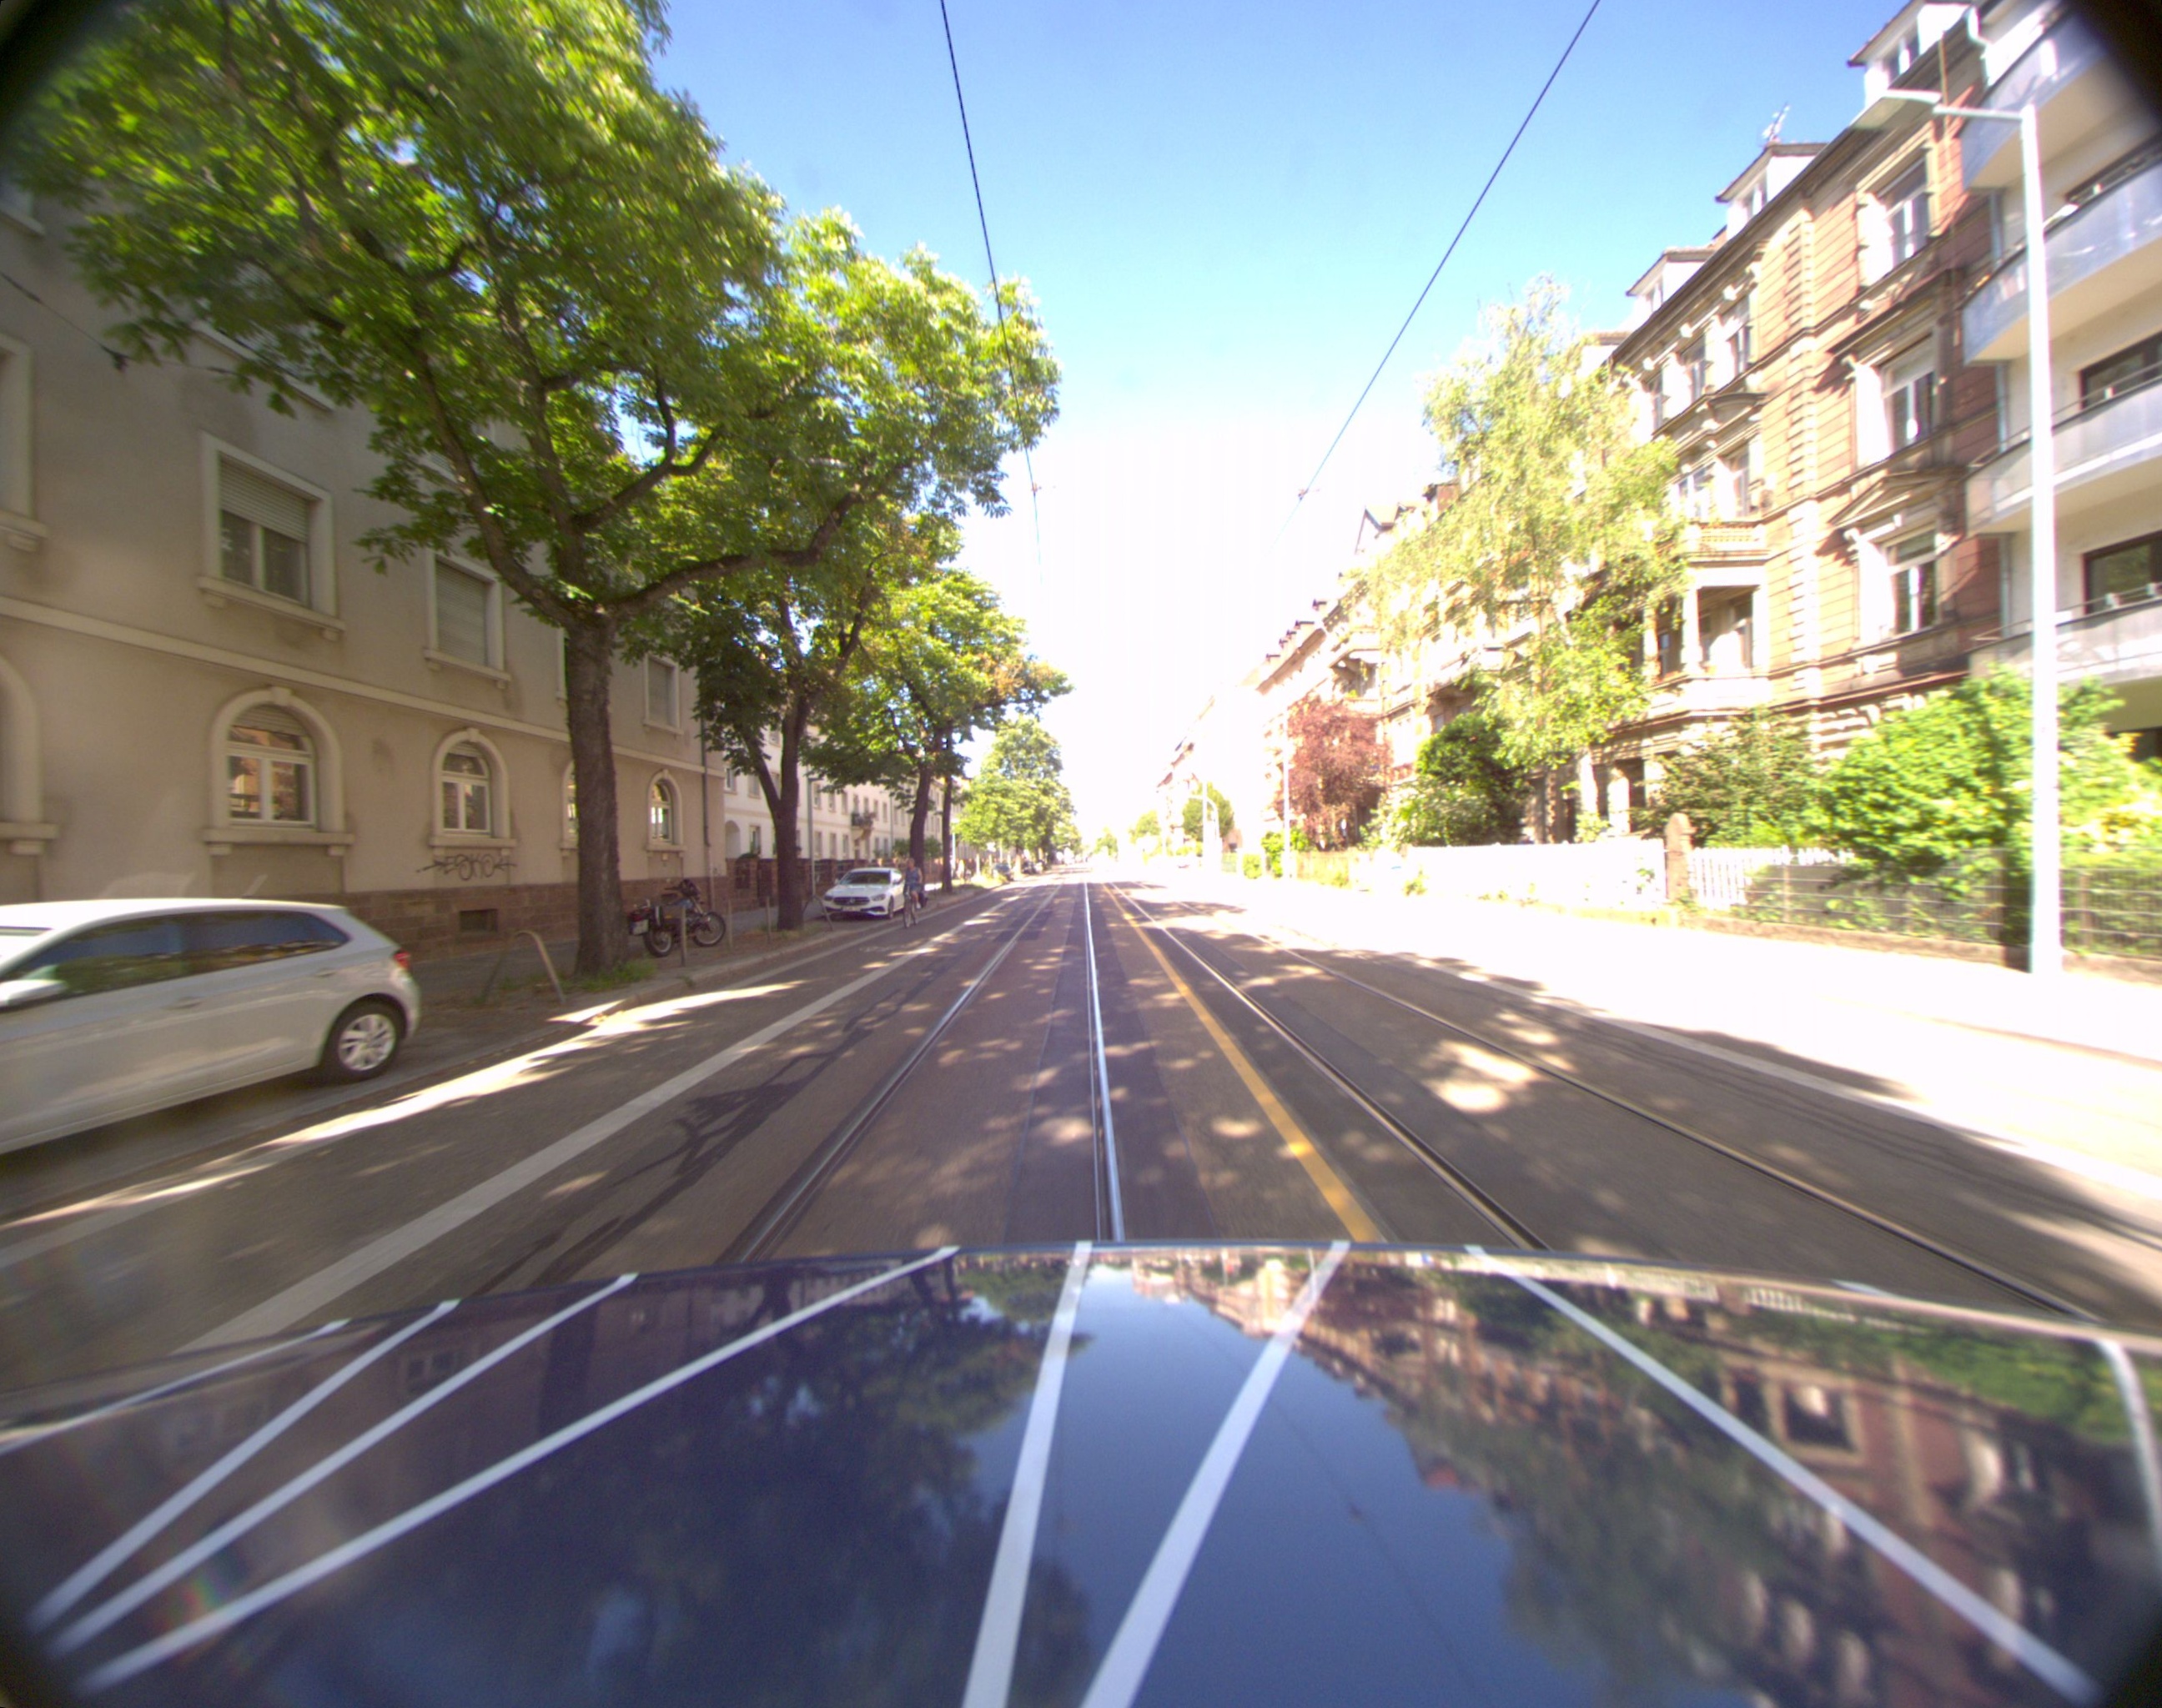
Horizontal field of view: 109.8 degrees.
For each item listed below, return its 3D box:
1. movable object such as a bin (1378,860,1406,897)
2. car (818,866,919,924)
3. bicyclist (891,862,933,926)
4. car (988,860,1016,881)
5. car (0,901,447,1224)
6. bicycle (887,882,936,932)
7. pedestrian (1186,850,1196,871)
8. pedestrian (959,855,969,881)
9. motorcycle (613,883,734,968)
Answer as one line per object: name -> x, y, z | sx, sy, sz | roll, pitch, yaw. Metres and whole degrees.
movable object such as a bin -> 10.133, 0.776, 24.756 | 0.590, 1.169, 0.665 | -2, 0, -4
car -> -6.206, 1.148, 22.767 | 1.824, 1.475, 4.748 | 0, 0, -2
bicyclist -> -4.224, 0.981, 19.049 | 0.776, 1.505, 1.229 | -2, 0, -2
car -> -5.895, 1.187, 57.227 | 1.761, 1.458, 4.613 | 0, 0, -2
car -> -6.287, 1.138, 4.361 | 1.705, 1.463, 4.214 | 0, 0, 1
bicycle -> -4.217, 1.300, 19.046 | 0.776, 1.080, 2.058 | -2, 0, -2
pedestrian -> 9.491, 0.548, 65.291 | 0.809, 1.825, 0.754 | -1, 0, 9
pedestrian -> -9.240, 1.093, 60.050 | 0.743, 2.002, 0.687 | -2, 1, -8
motorcycle -> -6.935, 1.180, 13.104 | 0.763, 1.243, 2.263 | -1, 0, 3
